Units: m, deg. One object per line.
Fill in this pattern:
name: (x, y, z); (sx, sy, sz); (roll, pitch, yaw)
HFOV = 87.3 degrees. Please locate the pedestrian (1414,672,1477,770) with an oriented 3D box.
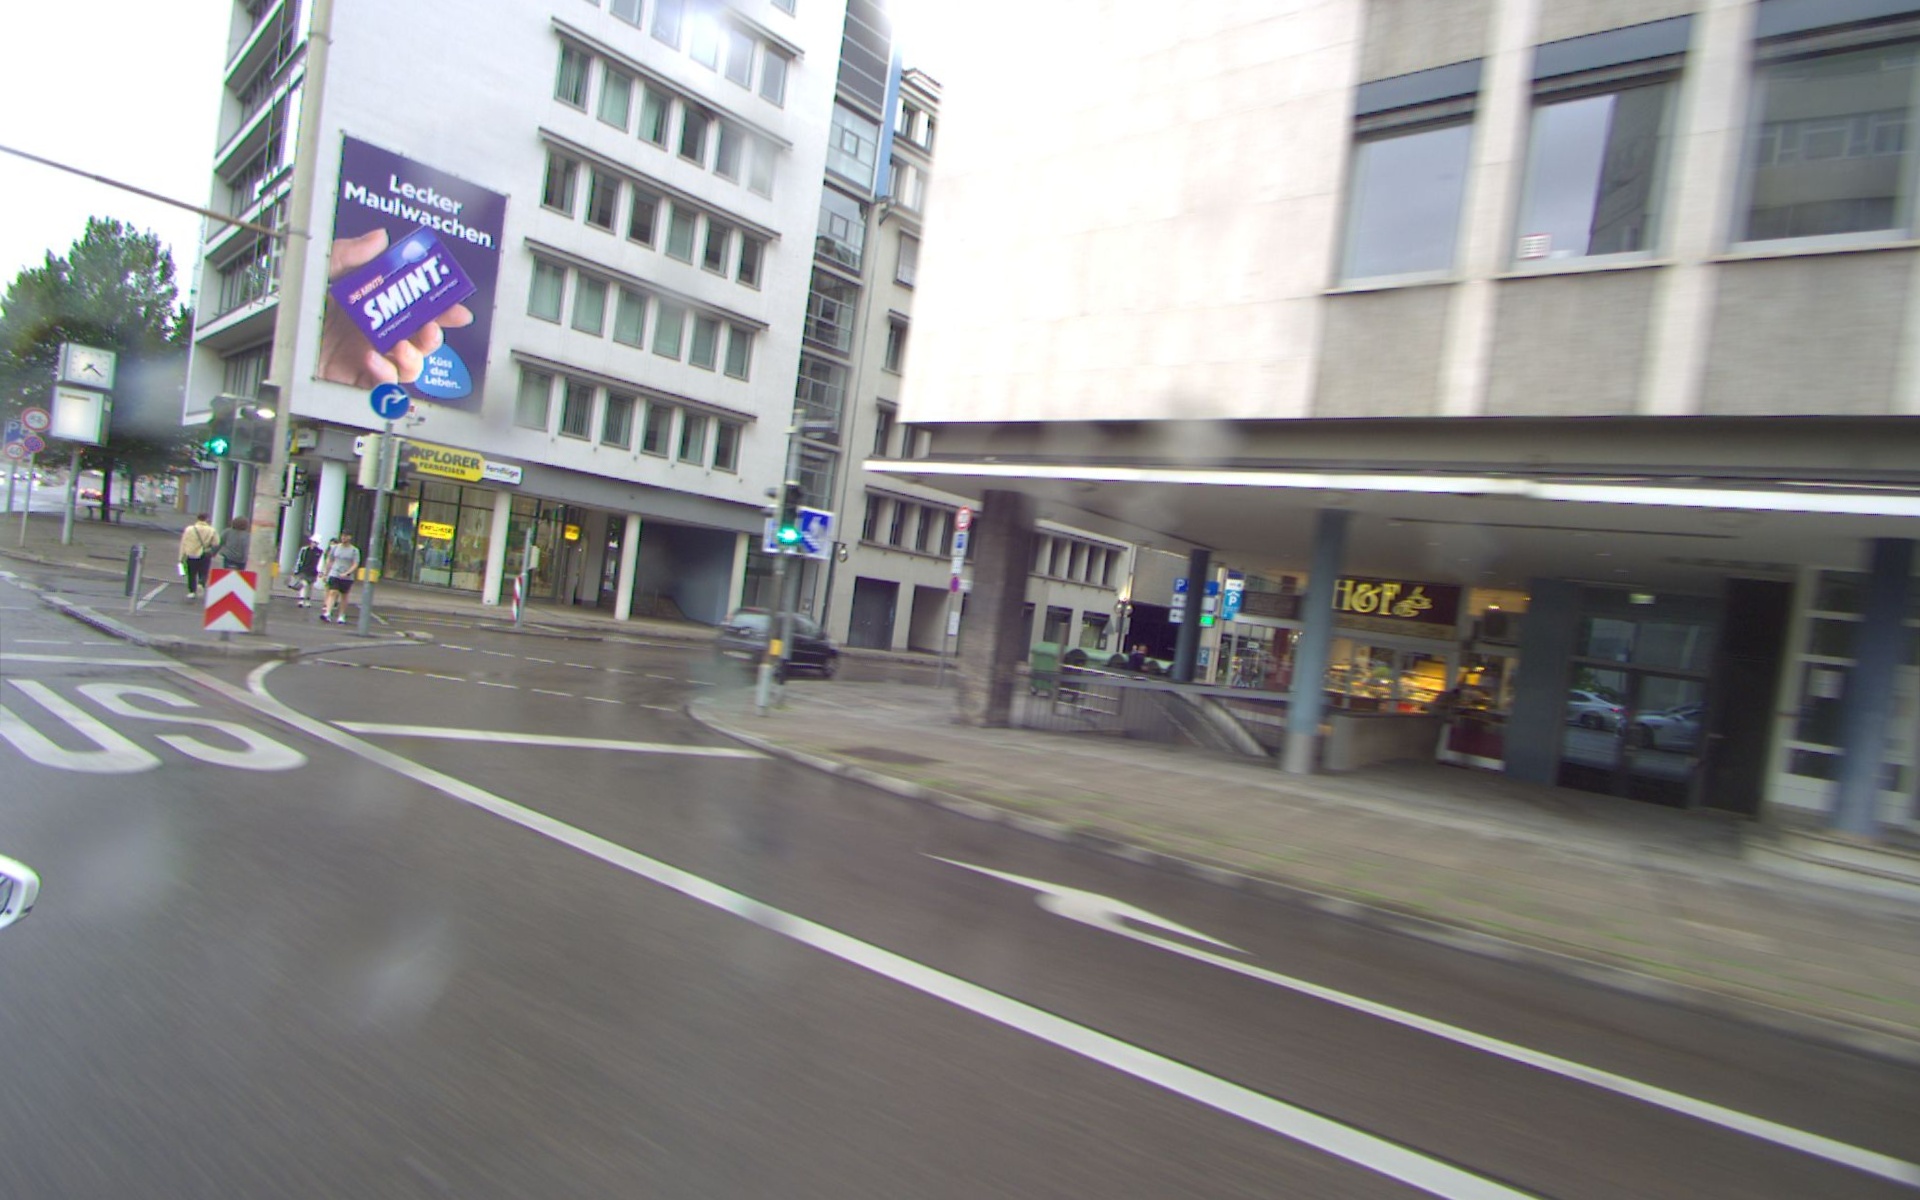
pedestrian: (9.731, 2.416, 20.208); (0.697, 1.825, 0.801); (7, 0, 5)

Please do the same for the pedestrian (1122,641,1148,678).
pedestrian: (9.389, 3.192, 53.965); (0.808, 1.895, 0.851); (7, -1, 44)

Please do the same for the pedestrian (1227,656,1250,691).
pedestrian: (16.468, 4.350, 59.527); (0.808, 1.895, 0.851); (7, -1, 44)

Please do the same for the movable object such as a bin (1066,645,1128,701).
movable object such as a bin: (3.952, 2.104, 29.072); (1.098, 1.399, 1.183); (8, 0, -45)

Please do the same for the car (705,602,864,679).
car: (-4.041, 1.022, 23.836); (1.548, 1.445, 4.000); (6, -2, 26)

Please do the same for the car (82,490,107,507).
car: (-98.549, -11.536, 114.618); (1.685, 1.503, 3.962); (8, -2, -36)

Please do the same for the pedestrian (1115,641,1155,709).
pedestrian: (4.778, 2.044, 27.491); (0.587, 1.752, 0.770); (7, 0, 38)

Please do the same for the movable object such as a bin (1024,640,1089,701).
movable object such as a bin: (2.599, 1.904, 27.186); (0.964, 1.447, 1.265); (7, 0, -45)

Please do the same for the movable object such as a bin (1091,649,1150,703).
movable object such as a bin: (4.779, 2.254, 29.935); (1.098, 1.399, 1.183); (8, 0, -45)

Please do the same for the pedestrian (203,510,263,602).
pedestrian: (-15.544, -0.940, 21.506); (0.806, 1.820, 0.747); (8, 1, 44)

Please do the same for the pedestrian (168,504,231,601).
pedestrian: (-15.257, -0.953, 20.182); (0.806, 1.820, 0.747); (8, 1, 44)

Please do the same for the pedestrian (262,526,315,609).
pedestrian: (-14.447, -0.695, 21.667); (0.662, 1.675, 0.650); (8, -1, -23)

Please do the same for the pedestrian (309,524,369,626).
pedestrian: (-11.760, -0.459, 19.079); (0.662, 1.815, 0.769); (8, -1, -23)

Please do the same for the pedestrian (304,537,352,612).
pedestrian: (-13.907, -0.556, 22.154); (0.618, 1.561, 0.650); (8, -1, -23)

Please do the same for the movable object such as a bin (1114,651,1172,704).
movable object such as a bin: (5.580, 2.372, 30.746); (1.098, 1.399, 1.183); (8, 0, -45)
